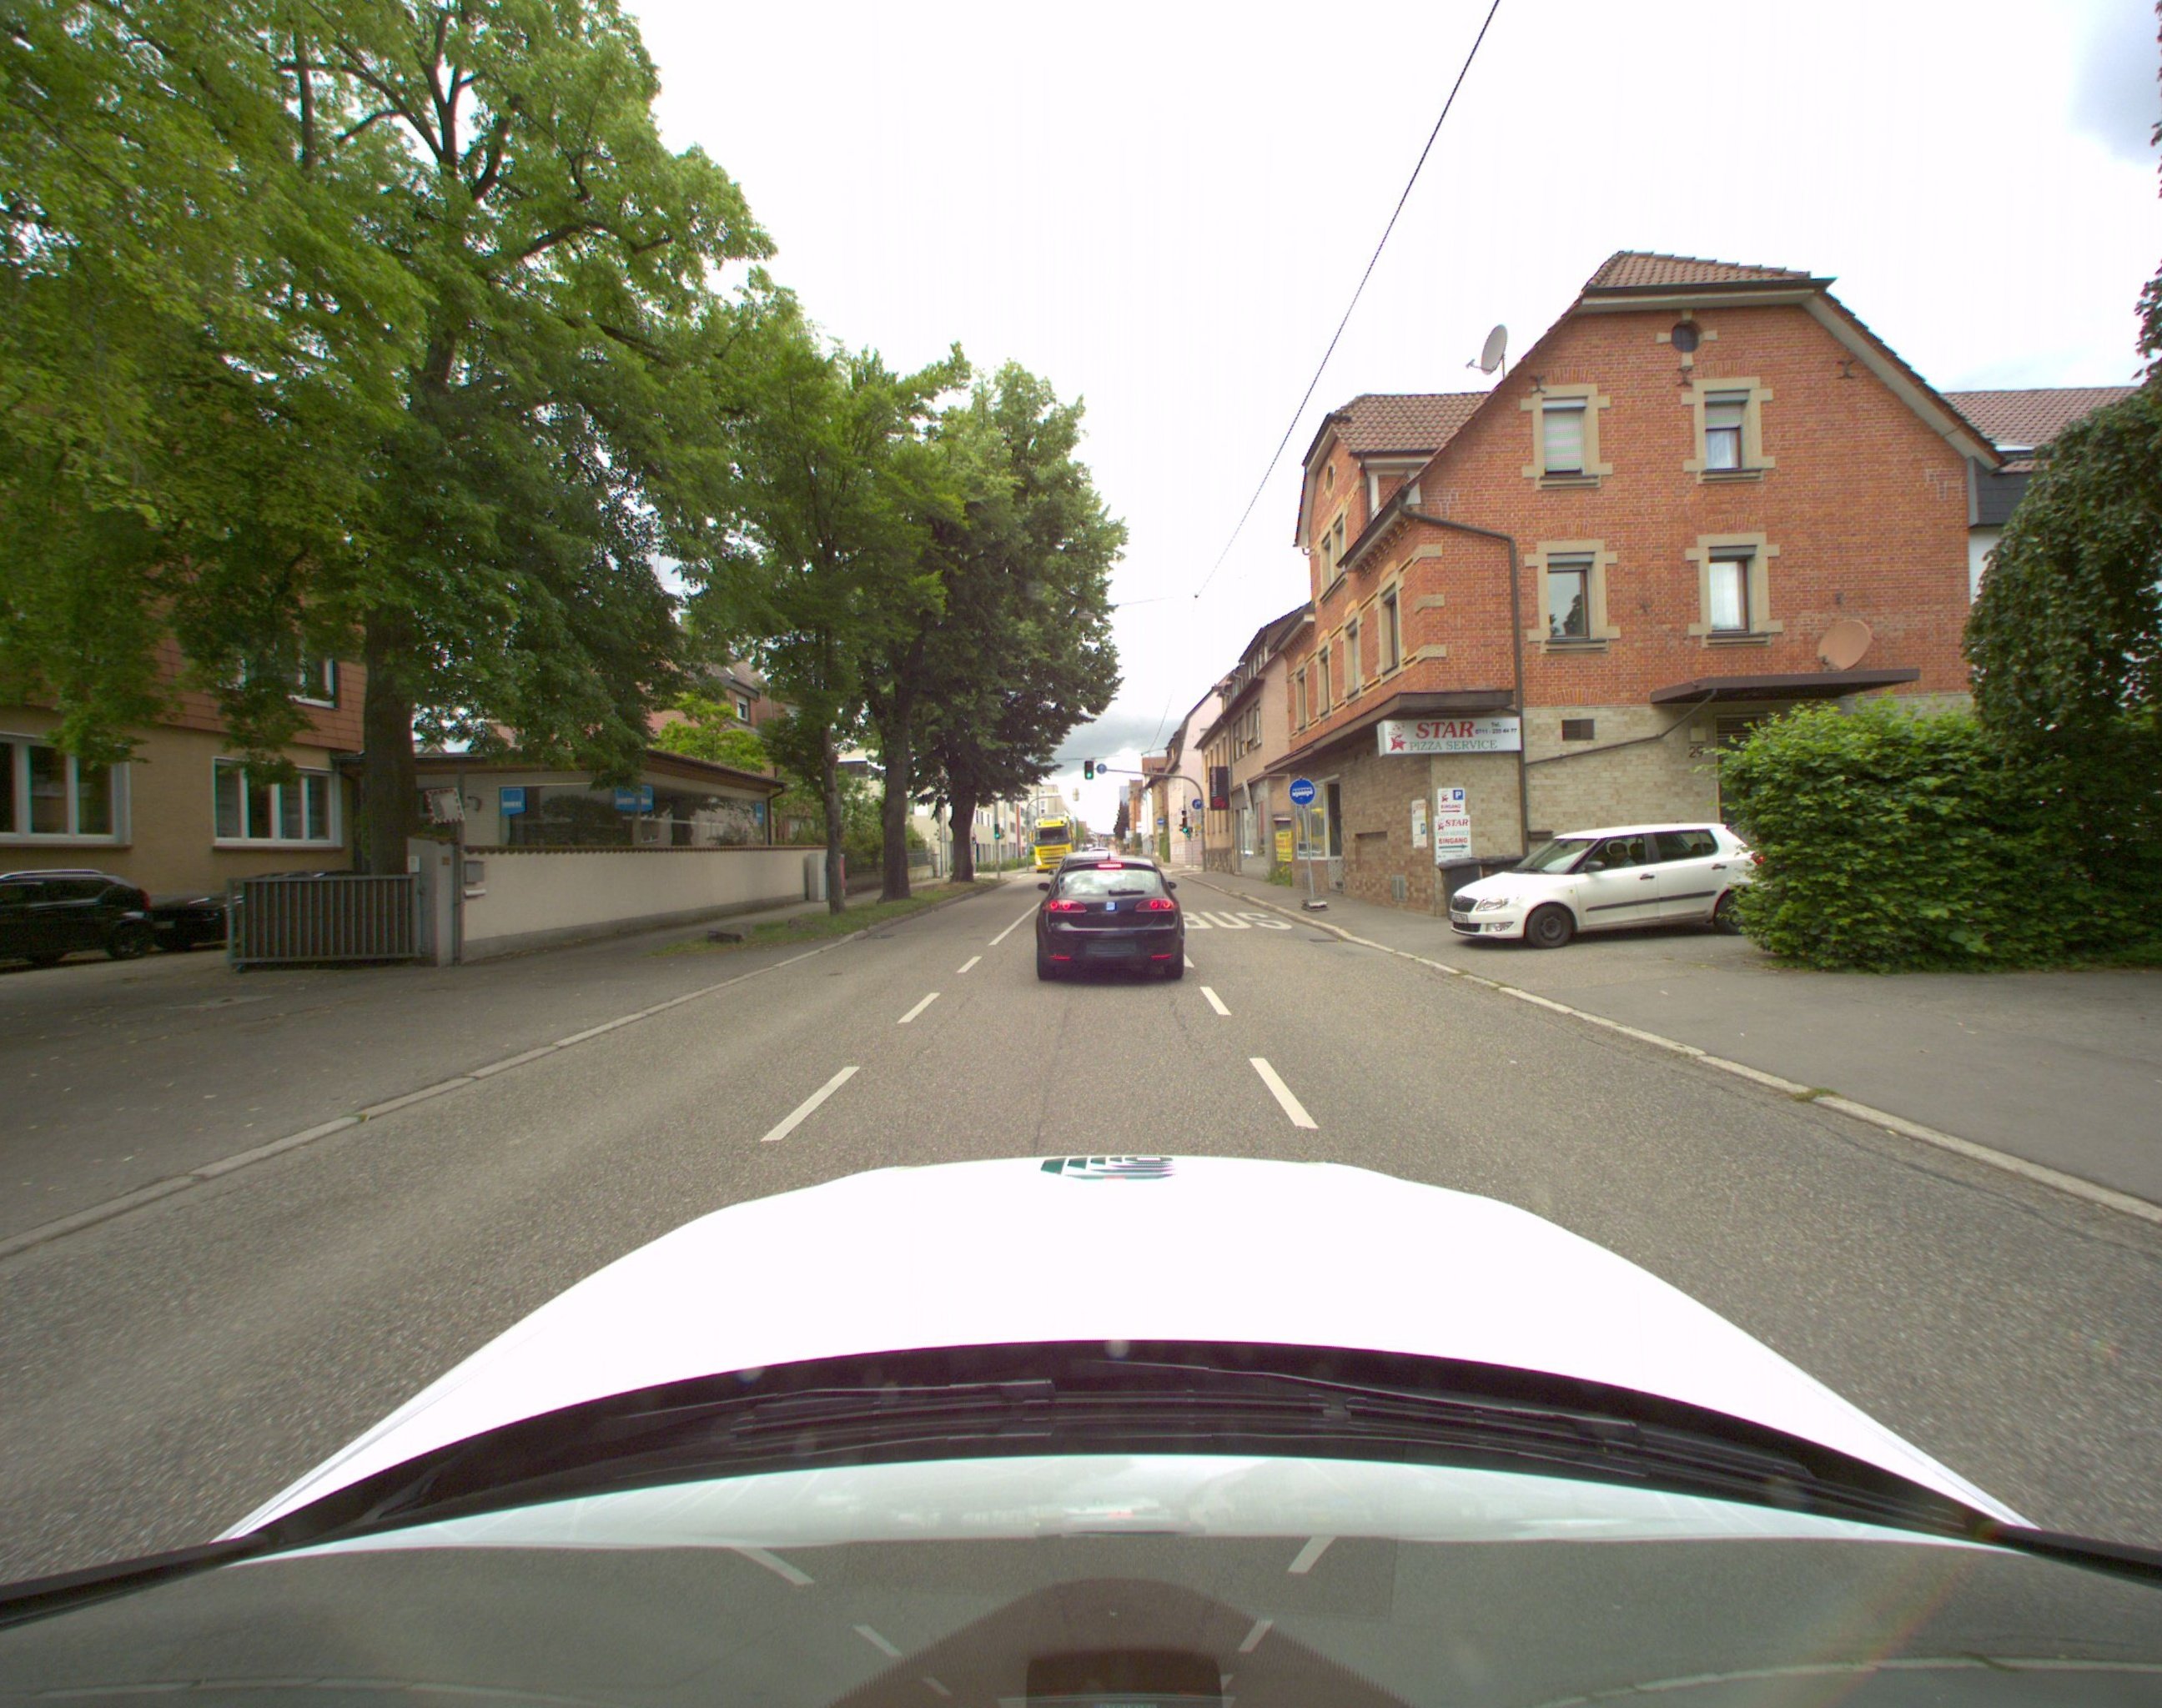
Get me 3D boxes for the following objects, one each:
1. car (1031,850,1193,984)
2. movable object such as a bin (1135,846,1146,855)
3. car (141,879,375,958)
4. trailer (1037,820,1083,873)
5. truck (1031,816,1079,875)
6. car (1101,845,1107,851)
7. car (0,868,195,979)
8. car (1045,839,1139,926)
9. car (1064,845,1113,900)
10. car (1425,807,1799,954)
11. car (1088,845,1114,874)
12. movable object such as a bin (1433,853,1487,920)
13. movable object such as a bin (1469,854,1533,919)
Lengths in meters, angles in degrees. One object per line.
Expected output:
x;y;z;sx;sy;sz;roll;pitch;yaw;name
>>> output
0.389;0.688;10.919;1.752;1.442;4.001;-1;0;1;car
10.481;-0.609;143.080;1.811;1.437;1.994;-1;0;2;movable object such as a bin
-16.746;1.250;16.817;1.336;1.330;3.398;-1;0;1;car
-1.467;-0.537;65.511;2.847;3.808;14.396;-1;0;2;trailer
-1.731;-0.557;57.458;2.833;3.782;7.673;-1;0;2;truck
6.598;-1.671;232.841;1.526;1.693;3.694;-2;0;1;car
-17.336;1.091;13.075;1.774;1.640;4.000;-1;0;1;car
0.266;0.567;18.093;1.836;1.693;4.001;-1;0;1;car
0.280;0.575;27.364;1.526;1.693;3.694;-1;0;1;car
7.126;0.339;11.192;4.017;1.470;1.600;-6;0;-1;car
1.251;0.328;50.212;1.526;1.693;3.694;-1;0;1;car
6.618;0.554;14.246;0.604;1.100;0.623;-4;0;1;movable object such as a bin
7.332;0.550;14.241;0.696;1.059;0.724;-4;0;1;movable object such as a bin
